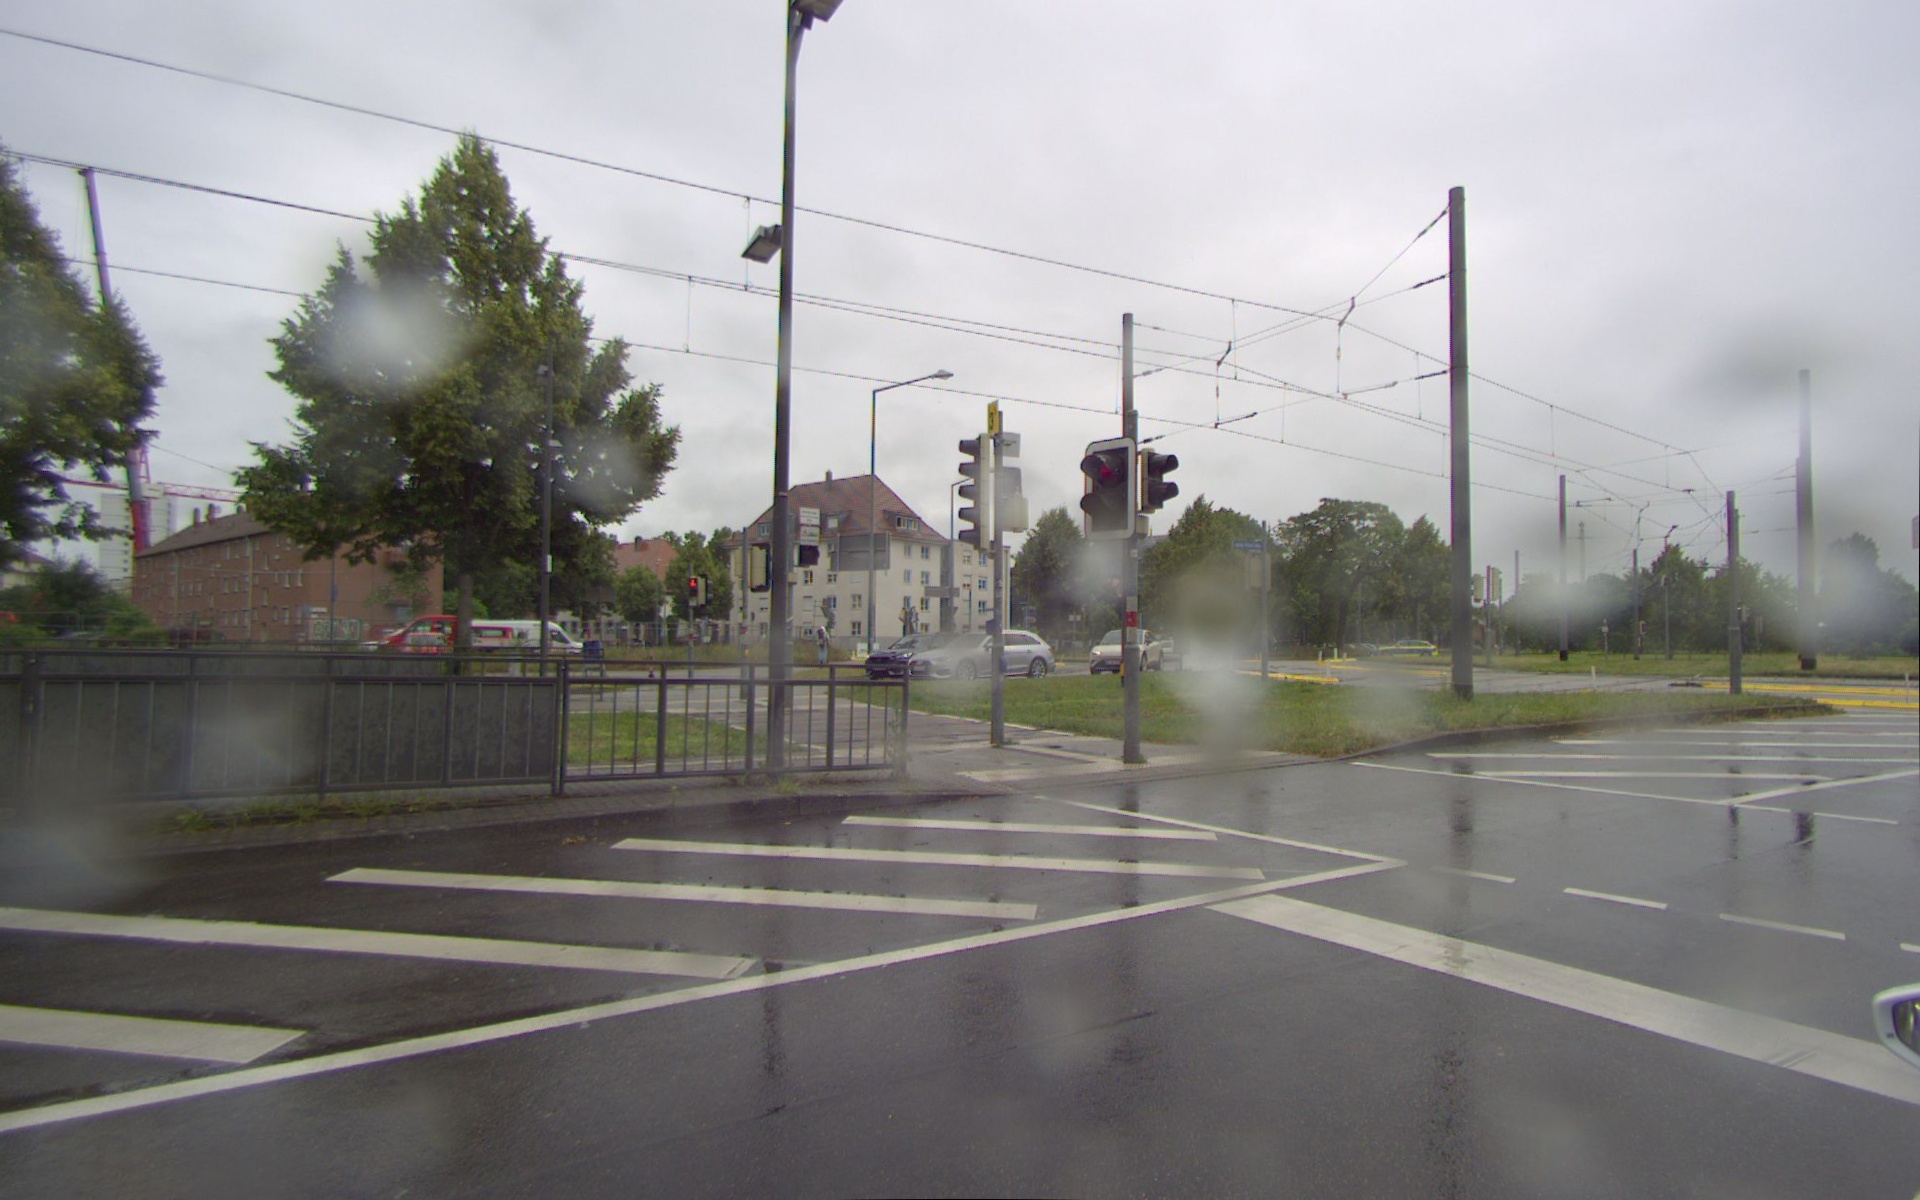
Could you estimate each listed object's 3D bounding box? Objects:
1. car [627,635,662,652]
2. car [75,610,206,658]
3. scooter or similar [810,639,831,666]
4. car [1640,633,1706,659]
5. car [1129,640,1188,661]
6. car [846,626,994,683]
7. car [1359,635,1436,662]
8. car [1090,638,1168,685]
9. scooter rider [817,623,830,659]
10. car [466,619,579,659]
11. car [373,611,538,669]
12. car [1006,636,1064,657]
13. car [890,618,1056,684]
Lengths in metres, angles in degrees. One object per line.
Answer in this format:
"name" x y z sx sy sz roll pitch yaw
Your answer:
"car" -31.527 4.331 100.281 3.429 1.563 1.615 2 0 39
"car" -45.304 1.919 55.743 5.441 2.485 1.980 3 0 -36
"scooter or similar" -6.674 2.514 48.247 0.438 1.276 1.591 -1 -2 14
"car" 55.280 3.556 77.913 3.921 1.840 1.681 2 0 -1
"car" 14.044 3.556 71.179 3.907 1.473 1.624 0 -2 3
"car" -1.182 1.644 31.205 4.371 1.649 1.975 2 -2 -42
"car" 31.354 3.477 72.090 4.679 1.875 2.001 0 -2 6
"car" 5.893 2.076 34.733 1.593 1.473 4.109 0 -2 26
"scooter rider" -6.598 1.976 48.550 0.425 1.731 0.533 -2 -3 14
"car" -25.875 2.326 59.643 6.004 2.308 1.617 1 -2 -18
"car" -22.387 1.793 44.886 6.389 2.502 1.616 1 -2 -20
"car" 5.451 3.354 72.787 3.908 1.473 1.624 0 -2 17
"car" 0.416 1.363 27.445 4.371 1.649 1.975 2 -2 -42
